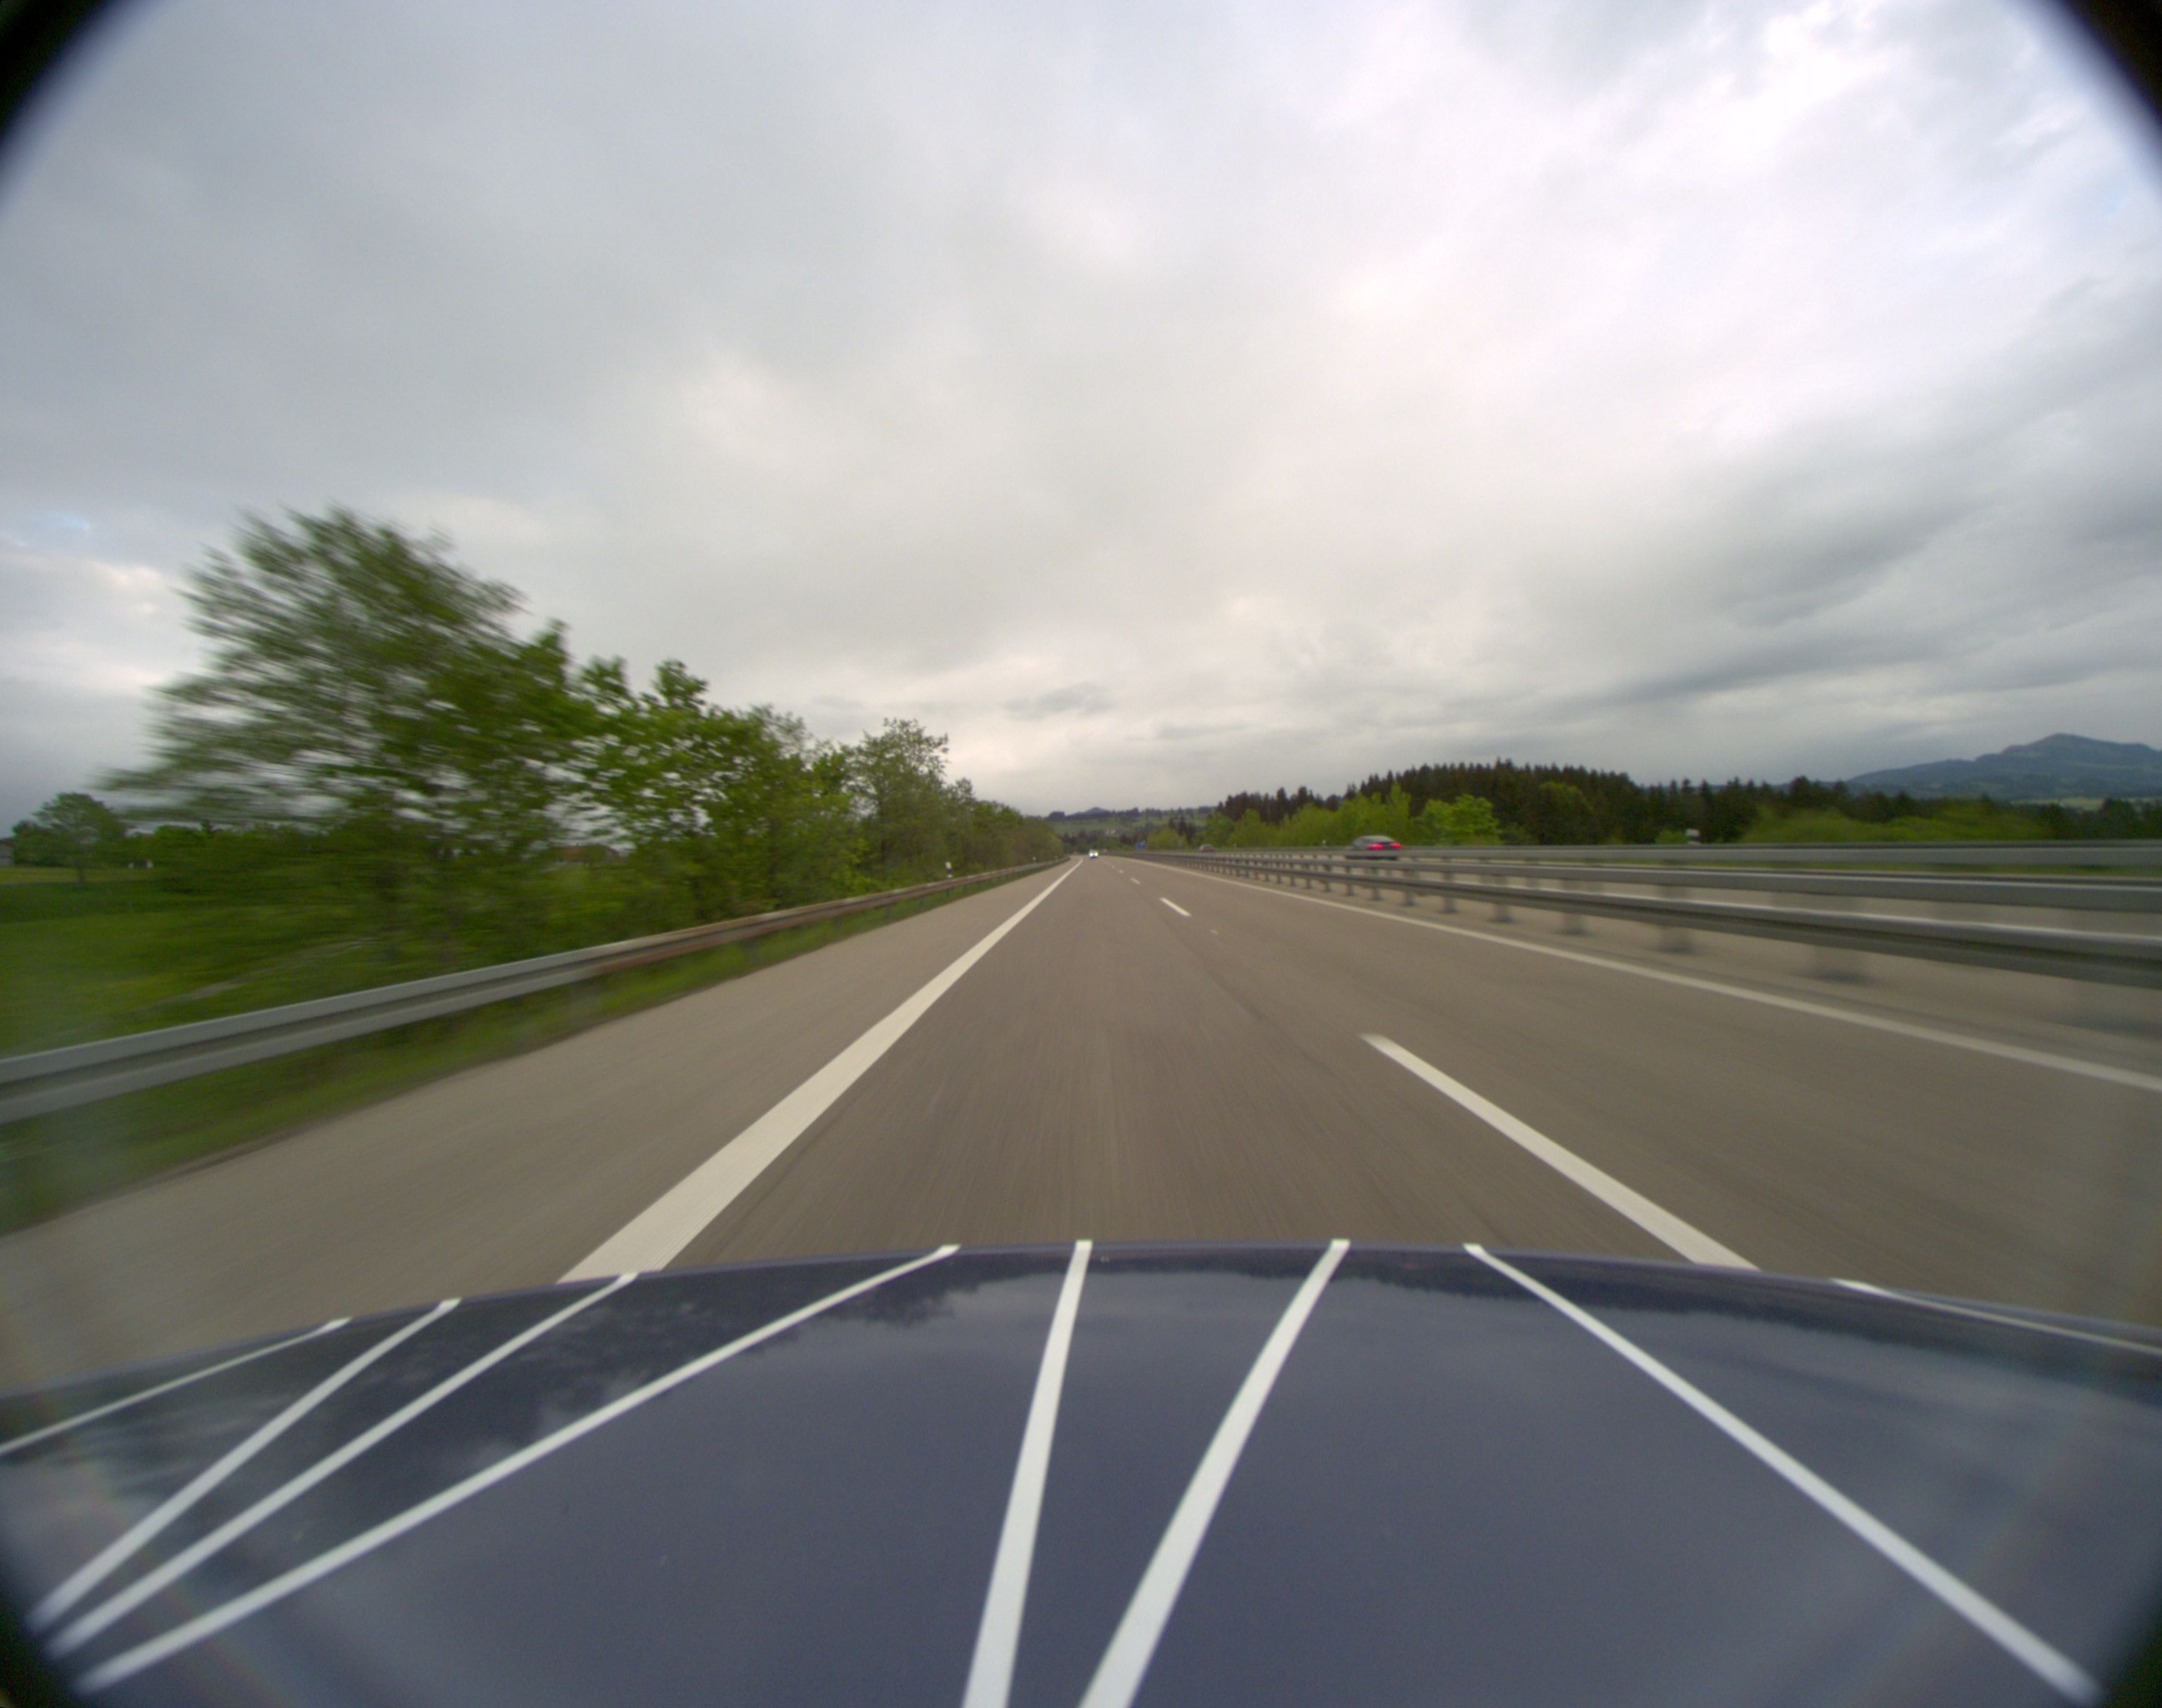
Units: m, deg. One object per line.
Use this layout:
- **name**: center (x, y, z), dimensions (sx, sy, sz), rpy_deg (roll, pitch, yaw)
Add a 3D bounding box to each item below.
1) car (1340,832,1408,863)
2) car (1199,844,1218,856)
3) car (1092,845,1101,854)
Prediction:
- **car**: center (17.025, -0.399, 44.425), dimensions (1.999, 1.607, 4.846), rpy_deg (-3, 1, 0)
- **car**: center (18.097, -0.546, 108.178), dimensions (1.904, 1.603, 4.228), rpy_deg (-4, 1, 1)
- **car**: center (3.599, -1.012, 178.773), dimensions (2.021, 1.899, 4.221), rpy_deg (-1, 0, 1)
